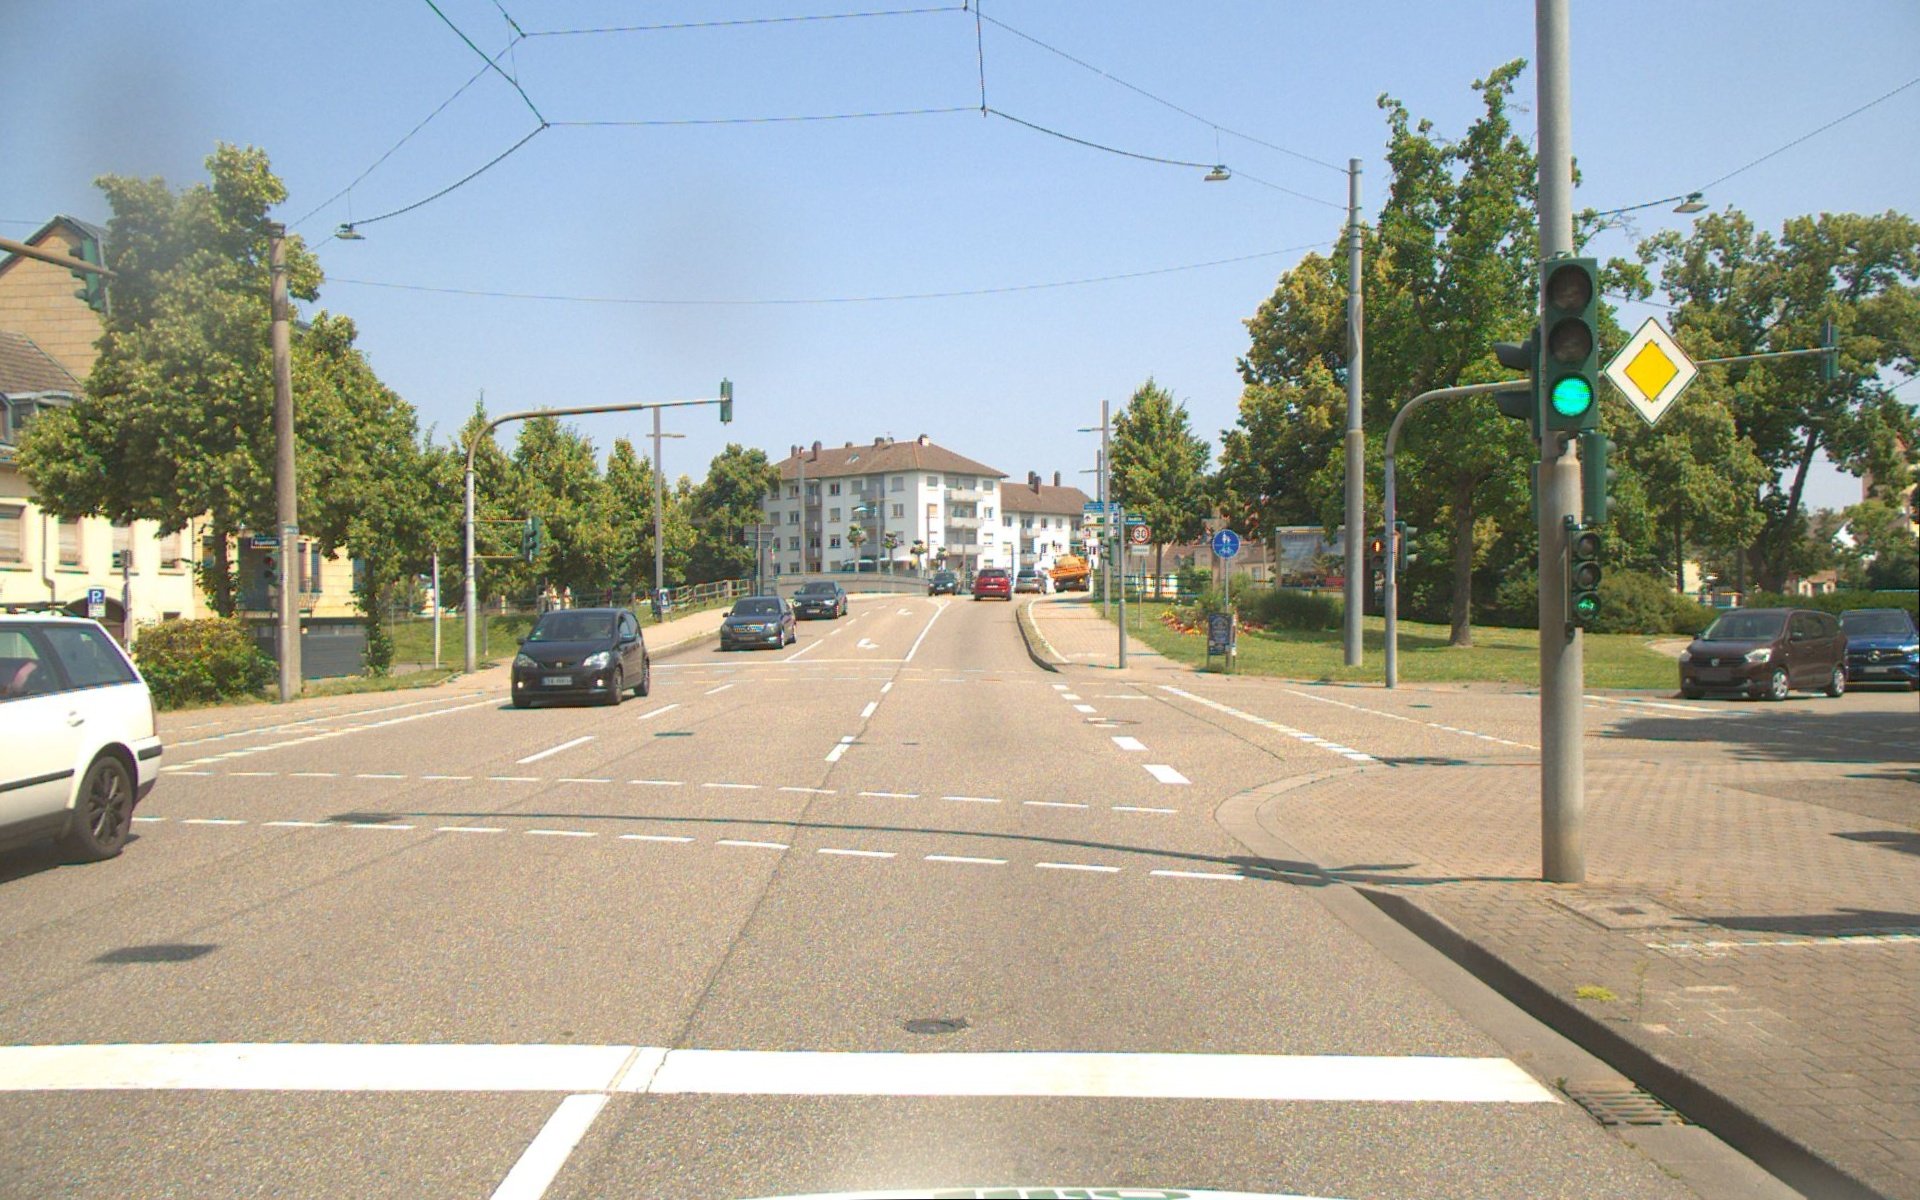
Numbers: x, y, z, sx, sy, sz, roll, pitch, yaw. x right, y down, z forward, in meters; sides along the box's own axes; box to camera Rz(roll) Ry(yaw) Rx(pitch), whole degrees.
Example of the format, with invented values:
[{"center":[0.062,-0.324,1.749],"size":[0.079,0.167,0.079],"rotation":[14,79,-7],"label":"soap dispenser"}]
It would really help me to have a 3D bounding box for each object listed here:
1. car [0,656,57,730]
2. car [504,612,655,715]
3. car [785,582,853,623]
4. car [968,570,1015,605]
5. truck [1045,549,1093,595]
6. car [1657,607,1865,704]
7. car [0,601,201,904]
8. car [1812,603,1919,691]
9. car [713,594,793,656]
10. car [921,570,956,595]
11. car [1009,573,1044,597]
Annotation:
[{"center":[-22.889,2.191,37.150],"size":[1.776,1.657,5.290],"rotation":[-3,-1,7],"label":"car"},{"center":[-5.952,0.948,26.247],"size":[1.583,1.481,3.709],"rotation":[-1,0,-1],"label":"car"},{"center":[-5.457,0.073,64.400],"size":[1.797,1.423,4.053],"rotation":[-4,0,7],"label":"car"},{"center":[1.596,-0.585,81.905],"size":[1.948,1.641,4.345],"rotation":[-1,0,6],"label":"car"},{"center":[6.952,-1.745,104.808],"size":[2.550,2.738,5.828],"rotation":[-1,0,8],"label":"truck"},{"center":[14.981,1.001,30.816],"size":[4.778,1.661,1.888],"rotation":[1,-2,-43],"label":"car"},{"center":[-5.791,0.788,8.412],"size":[1.778,1.545,4.630],"rotation":[-1,0,-1],"label":"car"},{"center":[19.259,0.982,35.070],"size":[1.956,1.731,4.760],"rotation":[-1,-2,29],"label":"car"},{"center":[-5.889,0.684,47.399],"size":[1.720,1.587,4.317],"rotation":[-2,1,-1],"label":"car"},{"center":[-1.352,-1.111,105.178],"size":[1.677,1.511,4.034],"rotation":[1,-1,7],"label":"car"},{"center":[4.626,-1.042,114.414],"size":[1.995,1.529,4.420],"rotation":[1,-1,7],"label":"car"}]
